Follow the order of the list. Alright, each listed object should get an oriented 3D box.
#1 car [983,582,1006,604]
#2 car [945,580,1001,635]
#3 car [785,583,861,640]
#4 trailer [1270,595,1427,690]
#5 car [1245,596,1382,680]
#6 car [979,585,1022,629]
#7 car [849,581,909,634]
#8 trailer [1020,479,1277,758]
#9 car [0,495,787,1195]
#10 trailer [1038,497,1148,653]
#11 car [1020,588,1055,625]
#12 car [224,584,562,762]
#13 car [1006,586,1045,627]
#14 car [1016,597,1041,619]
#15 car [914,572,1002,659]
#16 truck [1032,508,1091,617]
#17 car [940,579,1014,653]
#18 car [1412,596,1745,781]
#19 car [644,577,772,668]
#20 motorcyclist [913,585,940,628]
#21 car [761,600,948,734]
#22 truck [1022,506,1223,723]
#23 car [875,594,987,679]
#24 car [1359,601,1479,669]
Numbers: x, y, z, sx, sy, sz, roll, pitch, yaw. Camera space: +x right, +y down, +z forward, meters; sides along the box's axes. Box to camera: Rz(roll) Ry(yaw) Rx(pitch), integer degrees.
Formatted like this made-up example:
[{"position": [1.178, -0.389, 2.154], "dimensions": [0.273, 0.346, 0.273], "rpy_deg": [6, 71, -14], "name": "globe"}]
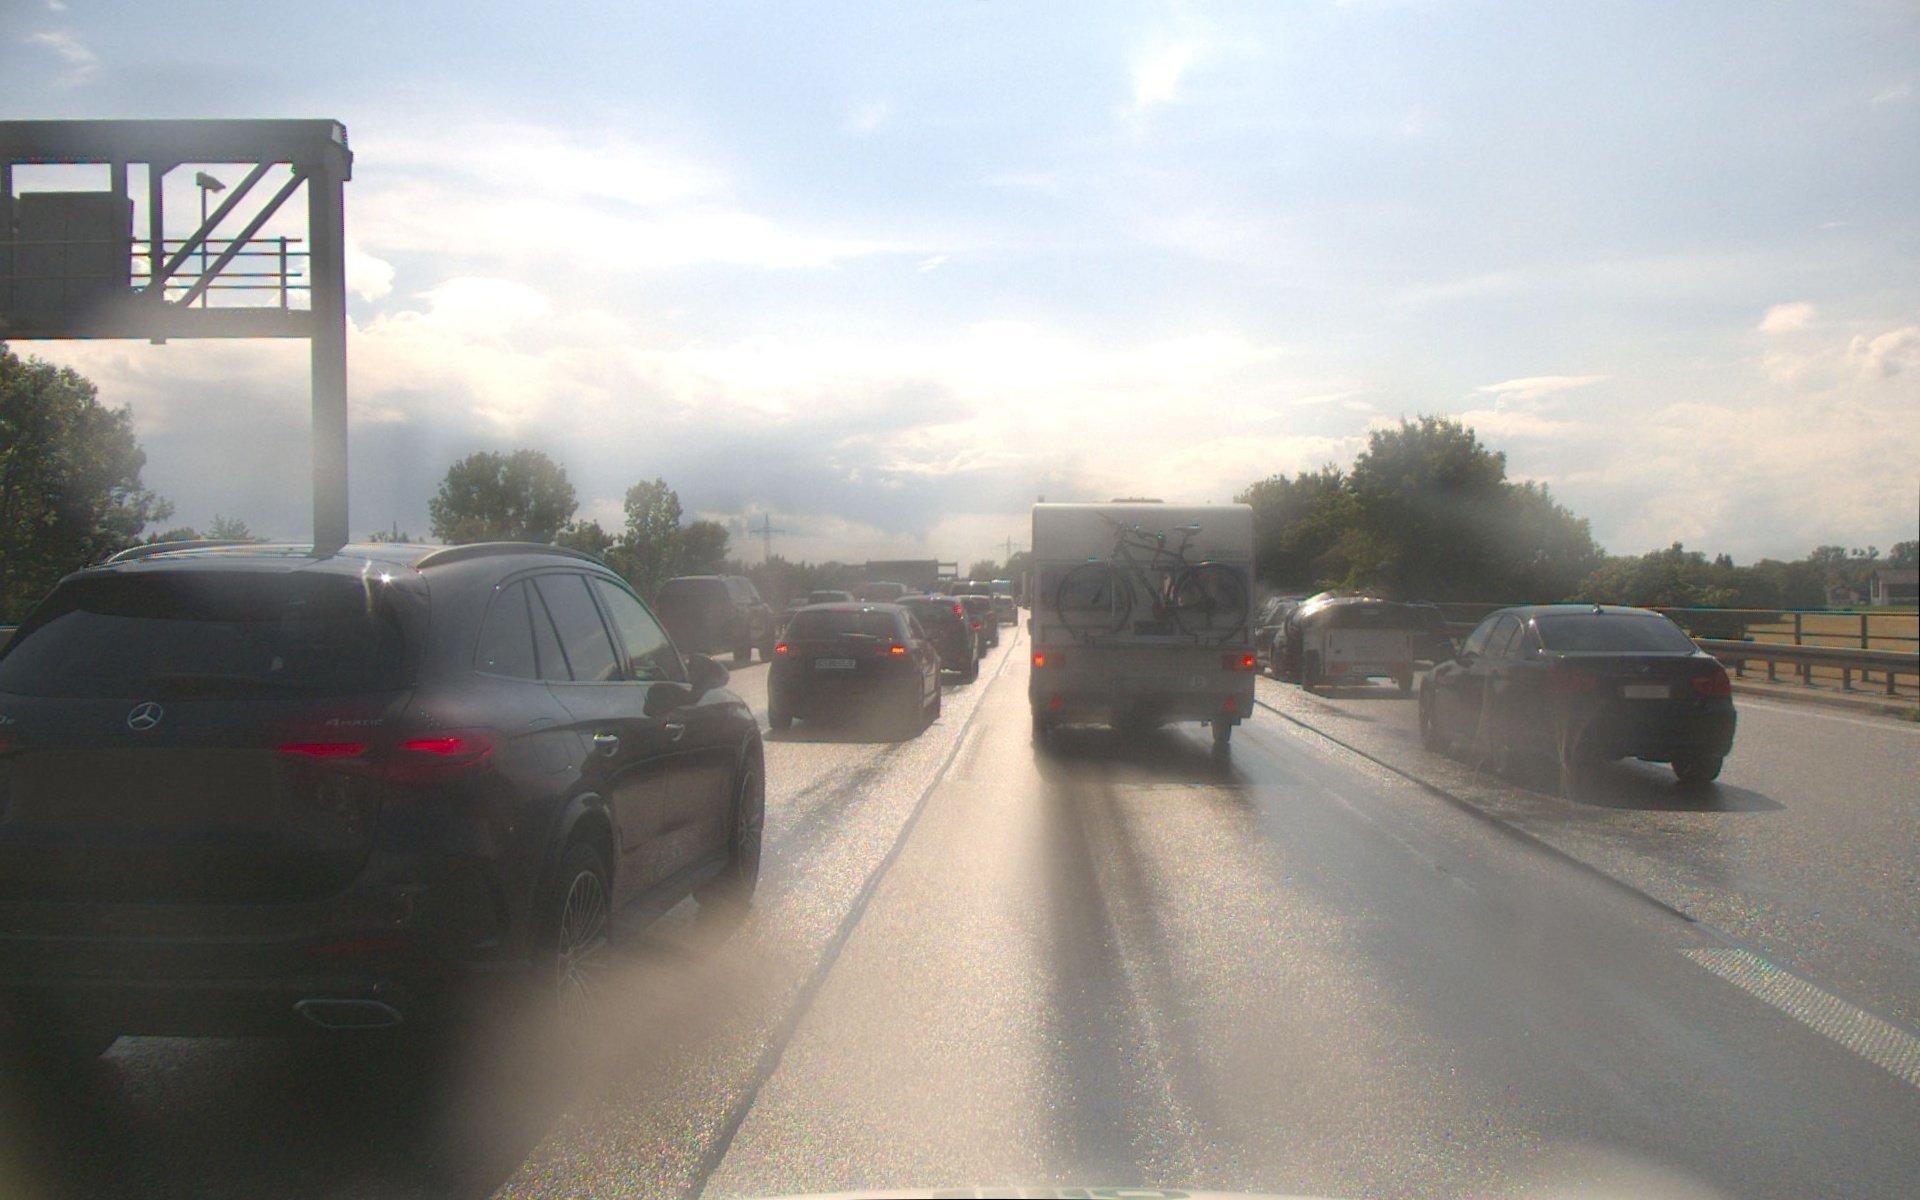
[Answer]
[{"position": [2.854, -0.549, 137.619], "dimensions": [1.838, 1.791, 4.000], "rpy_deg": [1, 0, 0], "name": "car"}, {"position": [0.532, 0.286, 63.952], "dimensions": [1.952, 2.049, 4.002], "rpy_deg": [0, 0, 3], "name": "car"}, {"position": [-4.505, 0.375, 54.889], "dimensions": [1.952, 1.803, 4.002], "rpy_deg": [1, 0, 3], "name": "car"}, {"position": [6.403, 0.647, 27.704], "dimensions": [1.816, 1.467, 4.149], "rpy_deg": [0, 0, 2], "name": "trailer"}, {"position": [6.548, 0.658, 31.049], "dimensions": [1.816, 1.467, 4.259], "rpy_deg": [0, 0, 2], "name": "car"}, {"position": [2.044, 0.328, 81.890], "dimensions": [1.952, 2.049, 4.002], "rpy_deg": [2, 0, 3], "name": "car"}, {"position": [-3.381, 0.293, 69.703], "dimensions": [1.952, 2.048, 4.002], "rpy_deg": [4, 0, 3], "name": "car"}, {"position": [1.867, 0.174, 18.453], "dimensions": [2.325, 2.526, 6.525], "rpy_deg": [1, 0, 2], "name": "trailer"}, {"position": [-1.986, 0.594, 6.251], "dimensions": [1.952, 1.690, 4.408], "rpy_deg": [0, 0, 3], "name": "car"}, {"position": [3.985, -0.699, 49.463], "dimensions": [2.943, 4.239, 8.541], "rpy_deg": [1, 0, 5], "name": "trailer"}, {"position": [4.768, 0.380, 100.973], "dimensions": [1.952, 2.048, 4.002], "rpy_deg": [4, 0, 3], "name": "car"}, {"position": [-5.461, 0.628, 16.540], "dimensions": [1.720, 1.543, 4.210], "rpy_deg": [0, 0, 3], "name": "car"}, {"position": [3.502, 0.318, 87.746], "dimensions": [1.952, 2.049, 4.002], "rpy_deg": [2, 0, 3], "name": "car"}, {"position": [5.537, 0.644, 134.802], "dimensions": [1.838, 1.791, 4.000], "rpy_deg": [1, 0, 0], "name": "car"}, {"position": [0.009, 0.368, 41.725], "dimensions": [1.952, 2.049, 4.002], "rpy_deg": [1, 0, 3], "name": "car"}, {"position": [4.775, -1.711, 78.932], "dimensions": [2.450, 4.914, 7.544], "rpy_deg": [1, 0, 1], "name": "truck"}, {"position": [0.560, 0.460, 50.226], "dimensions": [1.952, 2.048, 4.002], "rpy_deg": [4, 0, 3], "name": "car"}, {"position": [5.366, 0.684, 14.874], "dimensions": [1.704, 1.445, 3.837], "rpy_deg": [0, 0, 2], "name": "car"}, {"position": [-5.178, 0.447, 34.529], "dimensions": [1.952, 1.750, 4.001], "rpy_deg": [1, 0, 1], "name": "car"}, {"position": [-1.394, 0.282, 68.312], "dimensions": [1.041, 1.748, 0.785], "rpy_deg": [0, 0, 3], "name": "motorcyclist"}, {"position": [-1.130, 0.707, 19.473], "dimensions": [1.720, 1.411, 3.947], "rpy_deg": [0, 0, 3], "name": "car"}, {"position": [2.034, 0.174, 22.337], "dimensions": [2.325, 2.520, 5.758], "rpy_deg": [1, 0, 2], "name": "truck"}, {"position": [-0.464, 0.625, 30.321], "dimensions": [1.768, 1.432, 4.001], "rpy_deg": [1, 0, 3], "name": "car"}, {"position": [10.226, 0.739, 37.114], "dimensions": [1.734, 1.426, 4.291], "rpy_deg": [0, 0, 3], "name": "car"}]
